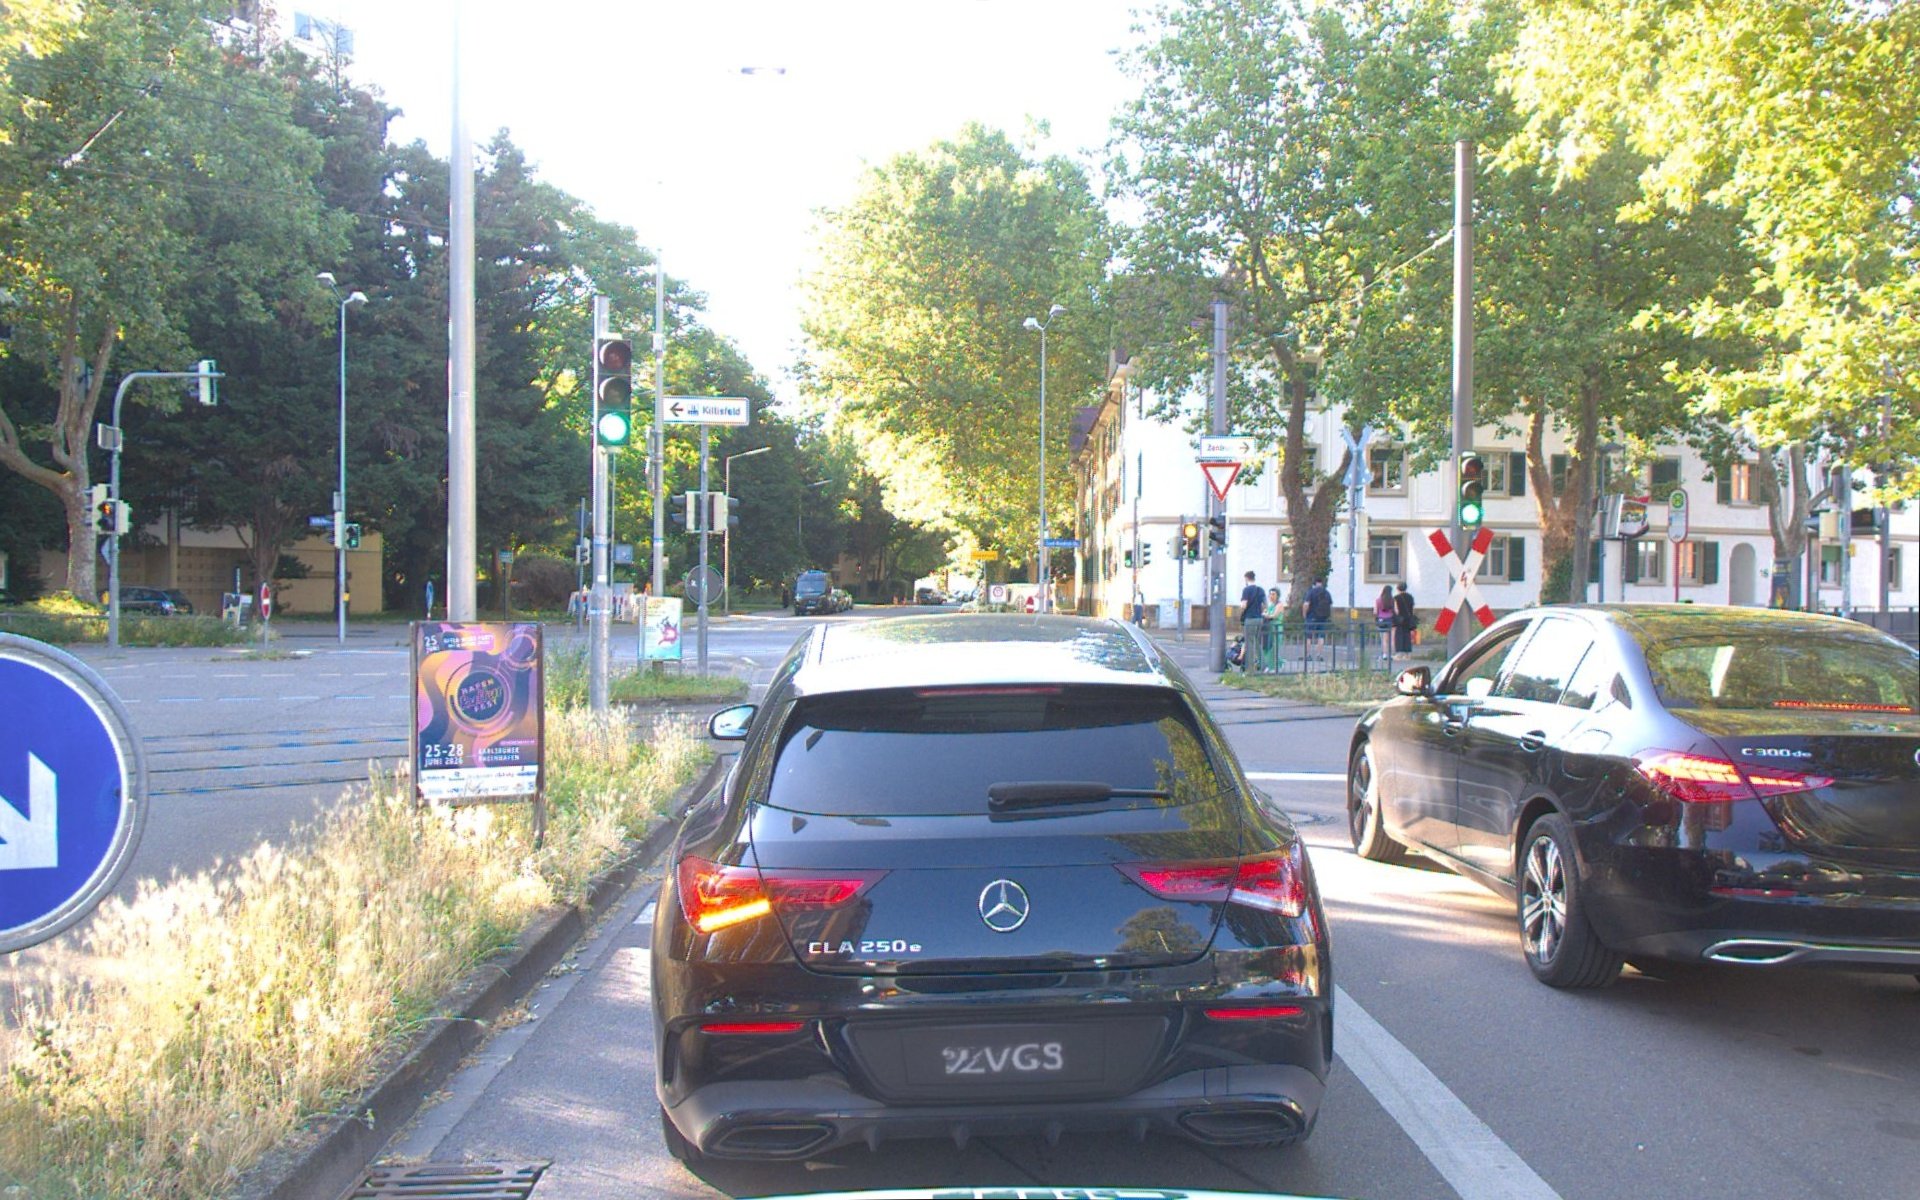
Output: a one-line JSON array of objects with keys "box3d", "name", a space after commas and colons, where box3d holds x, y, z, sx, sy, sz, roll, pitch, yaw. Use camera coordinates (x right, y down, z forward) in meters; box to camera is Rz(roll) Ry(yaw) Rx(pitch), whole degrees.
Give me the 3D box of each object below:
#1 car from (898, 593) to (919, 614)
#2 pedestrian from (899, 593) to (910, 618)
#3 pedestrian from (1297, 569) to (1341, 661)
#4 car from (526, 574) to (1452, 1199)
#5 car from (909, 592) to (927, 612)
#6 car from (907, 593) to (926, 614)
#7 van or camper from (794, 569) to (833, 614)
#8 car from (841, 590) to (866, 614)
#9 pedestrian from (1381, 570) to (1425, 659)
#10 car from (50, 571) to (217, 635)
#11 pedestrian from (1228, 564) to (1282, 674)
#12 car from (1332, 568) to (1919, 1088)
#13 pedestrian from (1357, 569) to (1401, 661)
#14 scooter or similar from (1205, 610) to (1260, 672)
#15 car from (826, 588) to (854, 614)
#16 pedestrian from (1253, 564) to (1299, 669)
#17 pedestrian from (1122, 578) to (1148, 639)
[{"box3d": [-4.529, 0.340, 145.489, 1.698, 1.796, 4.018, 1, 0, -1], "name": "car"}, {"box3d": [-4.365, 0.447, 129.953, 0.692, 1.951, 0.837, 1, -1, -11], "name": "pedestrian"}, {"box3d": [7.674, 0.319, 35.425, 0.691, 1.951, 0.838, 1, -1, -4], "name": "pedestrian"}, {"box3d": [0.073, 0.716, 5.348, 1.851, 1.475, 4.001, 1, 2, 0], "name": "car"}, {"box3d": [-4.002, 0.197, 158.402, 1.698, 1.796, 4.018, 1, 0, -1], "name": "car"}, {"box3d": [-3.954, 0.309, 150.319, 1.698, 1.796, 4.018, 1, 0, -1], "name": "car"}, {"box3d": [-8.793, -0.491, 99.612, 1.953, 2.586, 4.650, 1, 0, -1], "name": "van or camper"}, {"box3d": [-8.133, 0.137, 126.277, 1.698, 1.796, 3.970, 1, 0, -1], "name": "car"}, {"box3d": [9.857, 0.317, 36.815, 0.691, 1.951, 0.838, 1, -1, -4], "name": "pedestrian"}, {"box3d": [-24.380, 0.093, 48.849, 3.902, 1.805, 2.001, 1, 0, 7], "name": "car"}, {"box3d": [5.315, 0.346, 29.814, 0.673, 1.951, 0.702, 0, -1, 43], "name": "pedestrian"}, {"box3d": [3.121, 0.678, 7.320, 1.851, 1.516, 4.381, 1, 2, -1], "name": "car"}, {"box3d": [9.066, 0.329, 35.803, 0.691, 1.951, 0.838, 1, -1, -4], "name": "pedestrian"}, {"box3d": [5.057, 0.749, 30.778, 0.812, 1.124, 0.808, 1, 0, -6], "name": "scooter or similar"}, {"box3d": [-8.477, 0.092, 116.872, 1.698, 1.796, 4.084, 1, 0, -1], "name": "car"}, {"box3d": [5.910, 0.307, 30.976, 0.669, 1.951, 0.706, 1, -1, -5], "name": "pedestrian"}, {"box3d": [5.736, 0.277, 54.192, 0.691, 1.951, 0.838, 1, -1, -4], "name": "pedestrian"}]
